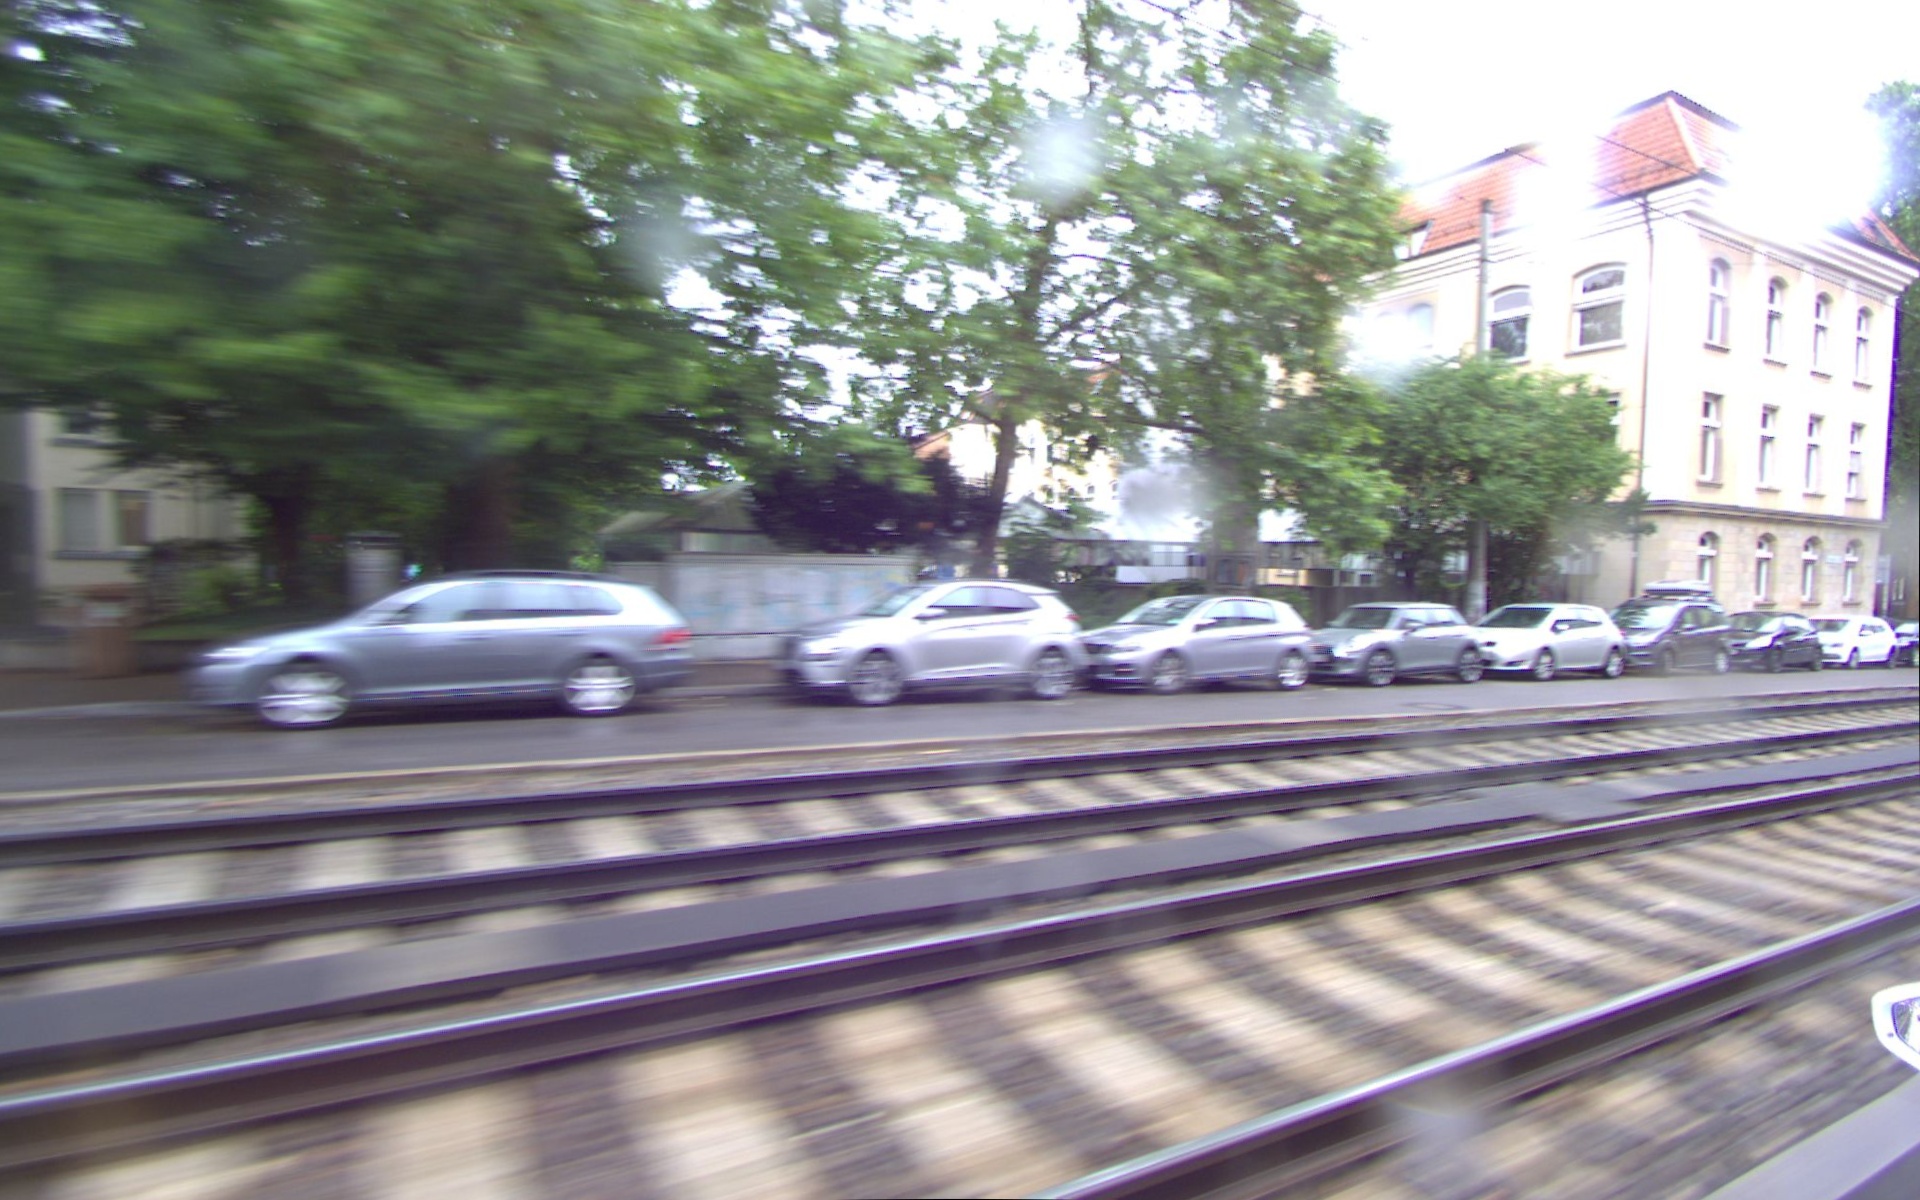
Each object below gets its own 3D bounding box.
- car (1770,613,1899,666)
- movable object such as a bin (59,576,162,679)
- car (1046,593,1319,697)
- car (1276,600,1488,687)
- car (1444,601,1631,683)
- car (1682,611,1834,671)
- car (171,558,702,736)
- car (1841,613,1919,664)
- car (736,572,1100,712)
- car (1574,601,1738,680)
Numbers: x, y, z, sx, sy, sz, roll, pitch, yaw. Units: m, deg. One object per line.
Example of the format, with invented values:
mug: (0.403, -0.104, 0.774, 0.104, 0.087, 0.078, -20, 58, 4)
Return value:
car: (24.460, 1.082, 28.064, 3.938, 1.409, 1.494, 1, -1, -29)
movable object such as a bin: (-9.833, 0.302, 11.659, 0.763, 1.135, 0.714, 1, 2, -28)
car: (3.505, 0.672, 15.643, 4.106, 1.432, 1.745, 1, -1, -31)
car: (7.646, 0.759, 18.119, 3.907, 1.432, 1.531, 1, -1, -31)
car: (11.782, 0.822, 20.424, 4.107, 1.525, 1.531, 1, -1, -31)
car: (20.355, 1.022, 25.589, 3.961, 1.432, 1.667, 1, -1, -29)
car: (-5.160, 0.445, 10.390, 4.500, 1.483, 1.839, 1, -1, -32)
car: (28.593, 1.137, 30.521, 3.807, 1.448, 1.606, 1, 1, -31)
car: (-0.474, 0.521, 13.143, 4.491, 1.556, 1.745, 1, -1, -31)
car: (15.911, 0.910, 22.920, 4.025, 1.665, 1.568, 1, -1, -31)
